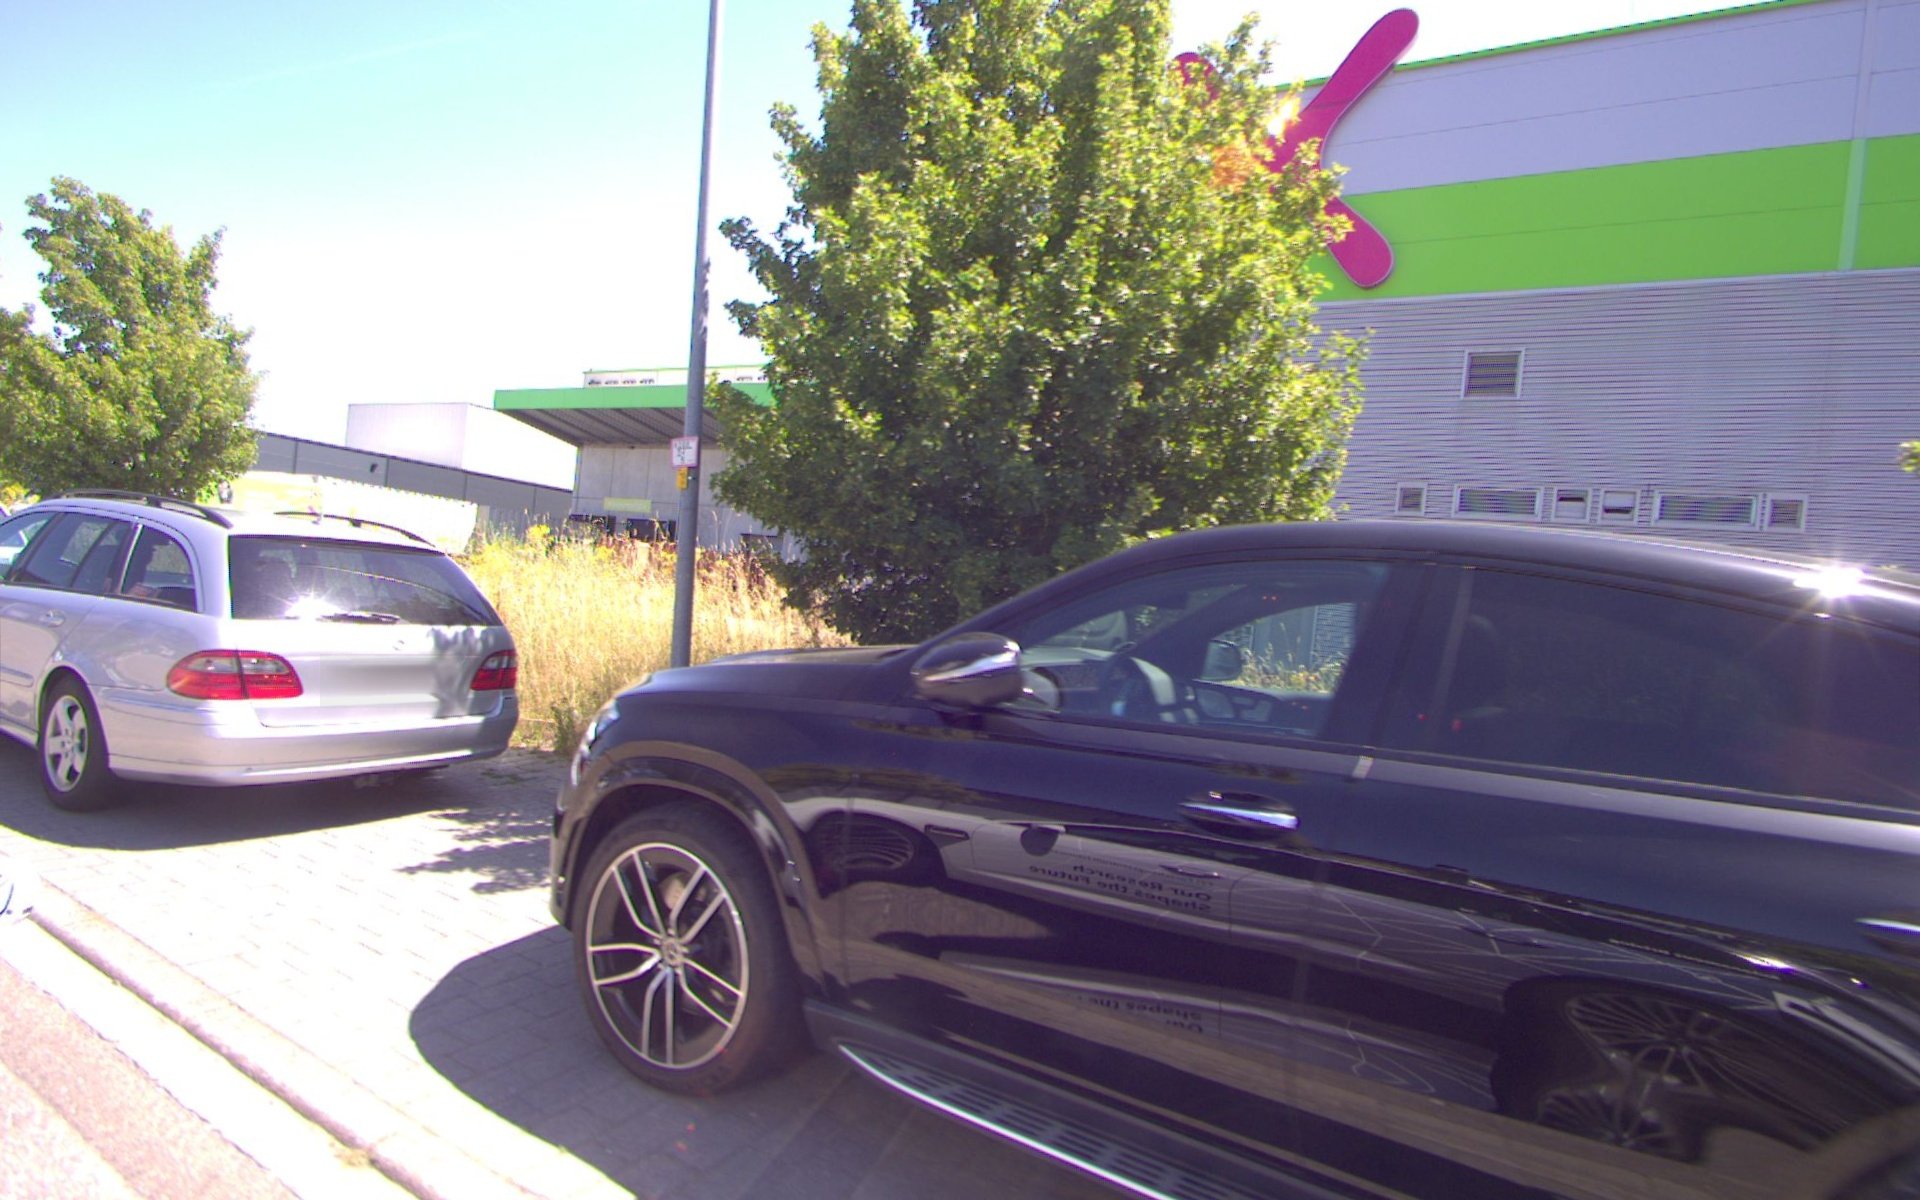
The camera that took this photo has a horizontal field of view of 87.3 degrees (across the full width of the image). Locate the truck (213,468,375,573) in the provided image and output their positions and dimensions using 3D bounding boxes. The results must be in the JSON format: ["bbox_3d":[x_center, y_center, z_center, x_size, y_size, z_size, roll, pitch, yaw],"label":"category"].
[{"bbox_3d":[-29.230,-3.428,44.328,2.758,3.923,5.068,5,0,32],"label":"truck"}]

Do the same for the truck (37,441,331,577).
[{"bbox_3d":[-21.197,-2.376,27.866,2.267,2.908,5.911,6,0,28],"label":"truck"}]

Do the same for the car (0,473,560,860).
[{"bbox_3d":[-4.769,0.106,5.960,4.691,1.502,1.806,6,2,28],"label":"car"}]

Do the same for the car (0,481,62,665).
[{"bbox_3d":[-10.092,-0.455,8.879,4.691,1.502,1.715,6,2,28],"label":"car"}]

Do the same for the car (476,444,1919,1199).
[{"bbox_3d":[0.959,0.629,2.744,4.470,1.723,1.949,6,2,32],"label":"car"}]

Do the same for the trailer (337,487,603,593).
[{"bbox_3d":[-24.664,-2.855,51.874,2.758,3.923,12.632,5,-1,31],"label":"trailer"}]

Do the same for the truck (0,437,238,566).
[{"bbox_3d":[-25.177,-2.801,29.568,2.374,2.950,5.828,6,0,30],"label":"truck"}]
